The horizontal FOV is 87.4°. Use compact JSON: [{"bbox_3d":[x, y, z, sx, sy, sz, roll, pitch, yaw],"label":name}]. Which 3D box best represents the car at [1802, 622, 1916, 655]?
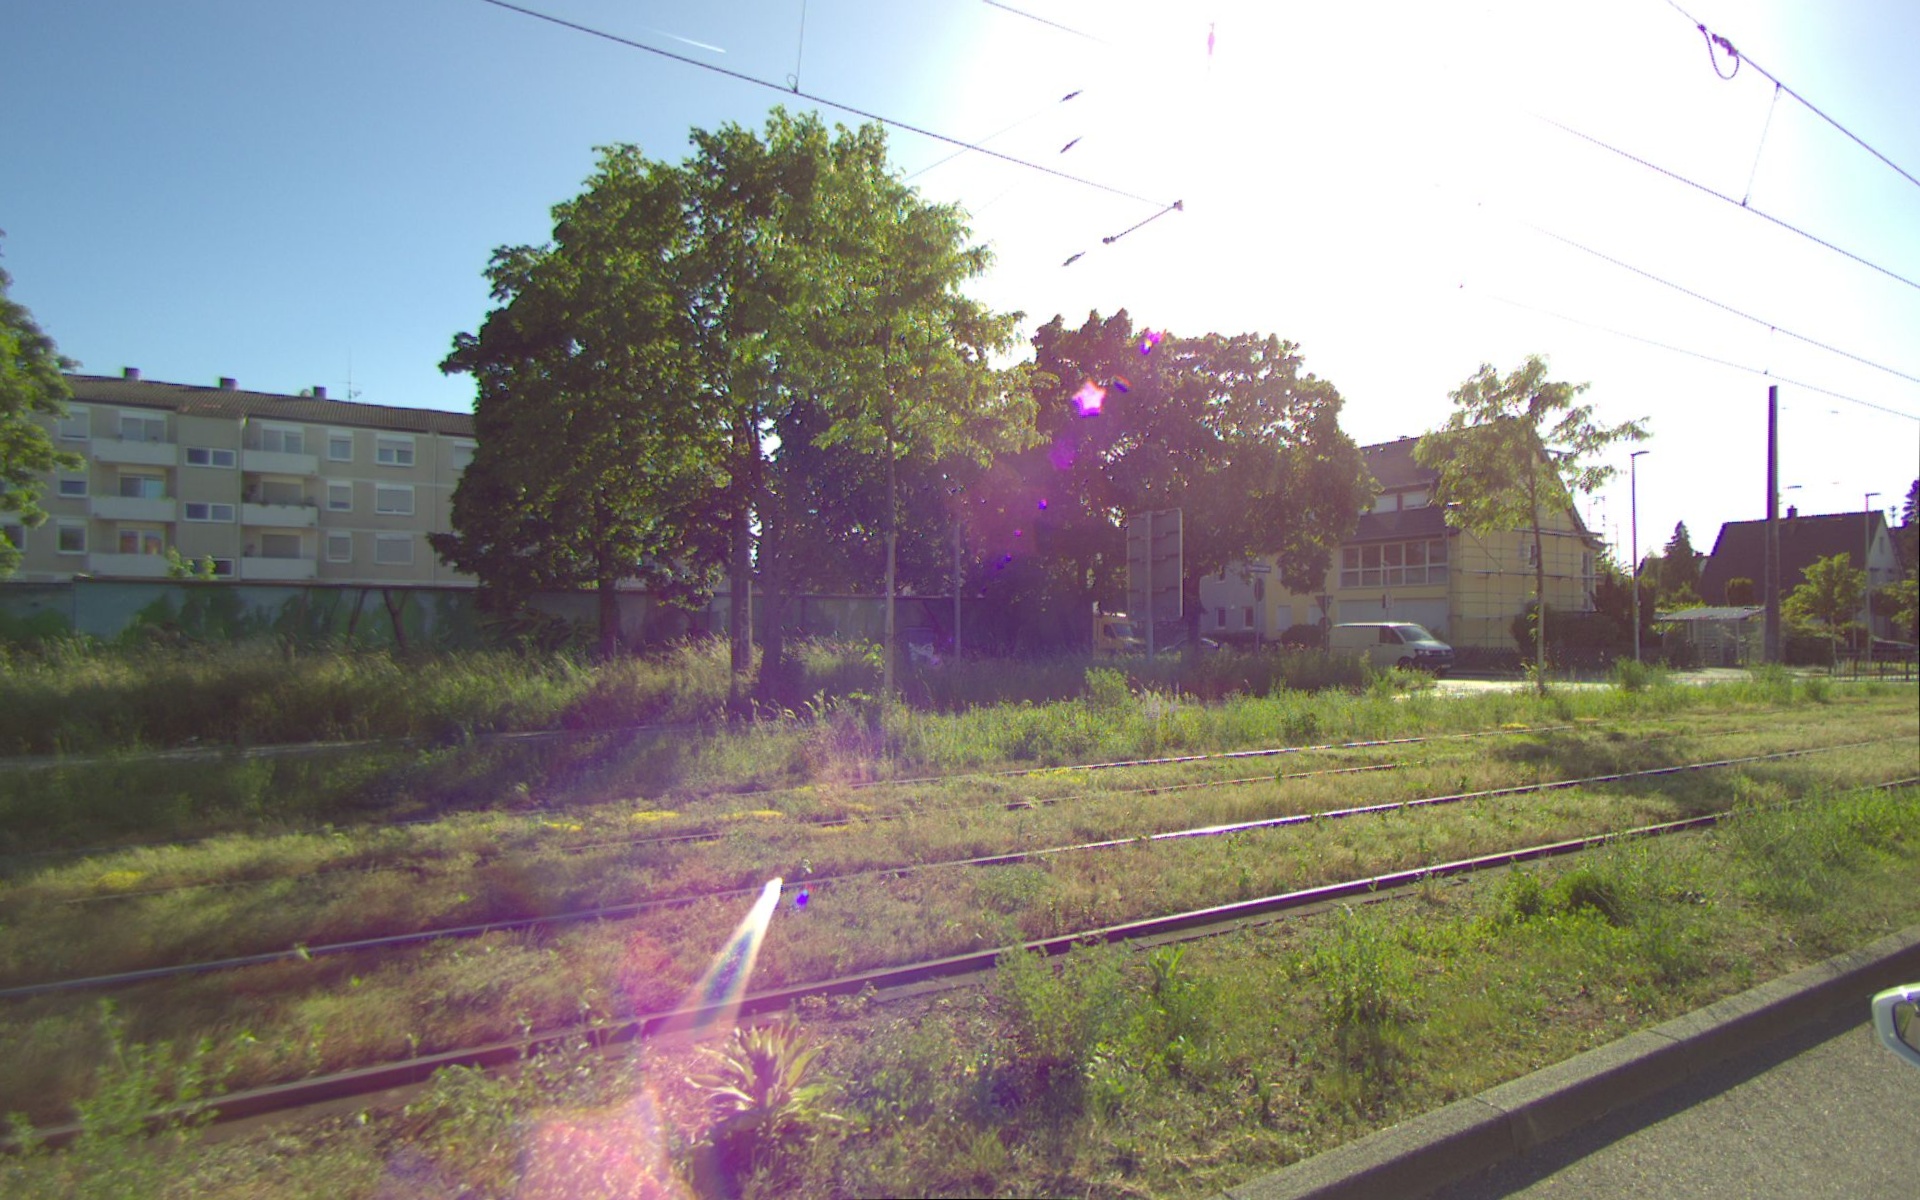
[{"bbox_3d":[49.821,2.136,55.739,2.037,1.757,4.501,1,-2,-41],"label":"car"}]

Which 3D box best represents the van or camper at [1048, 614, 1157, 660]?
[{"bbox_3d":[8.033,2.058,57.563,2.088,2.380,7.194,1,-1,-31],"label":"van or camper"}]

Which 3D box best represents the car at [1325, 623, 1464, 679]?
[{"bbox_3d":[16.094,1.859,37.449,1.878,1.940,4.672,1,-2,-26],"label":"car"}]

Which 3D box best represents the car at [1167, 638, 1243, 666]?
[{"bbox_3d":[12.258,2.577,50.459,1.542,1.364,3.712,1,-2,-31],"label":"car"}]
